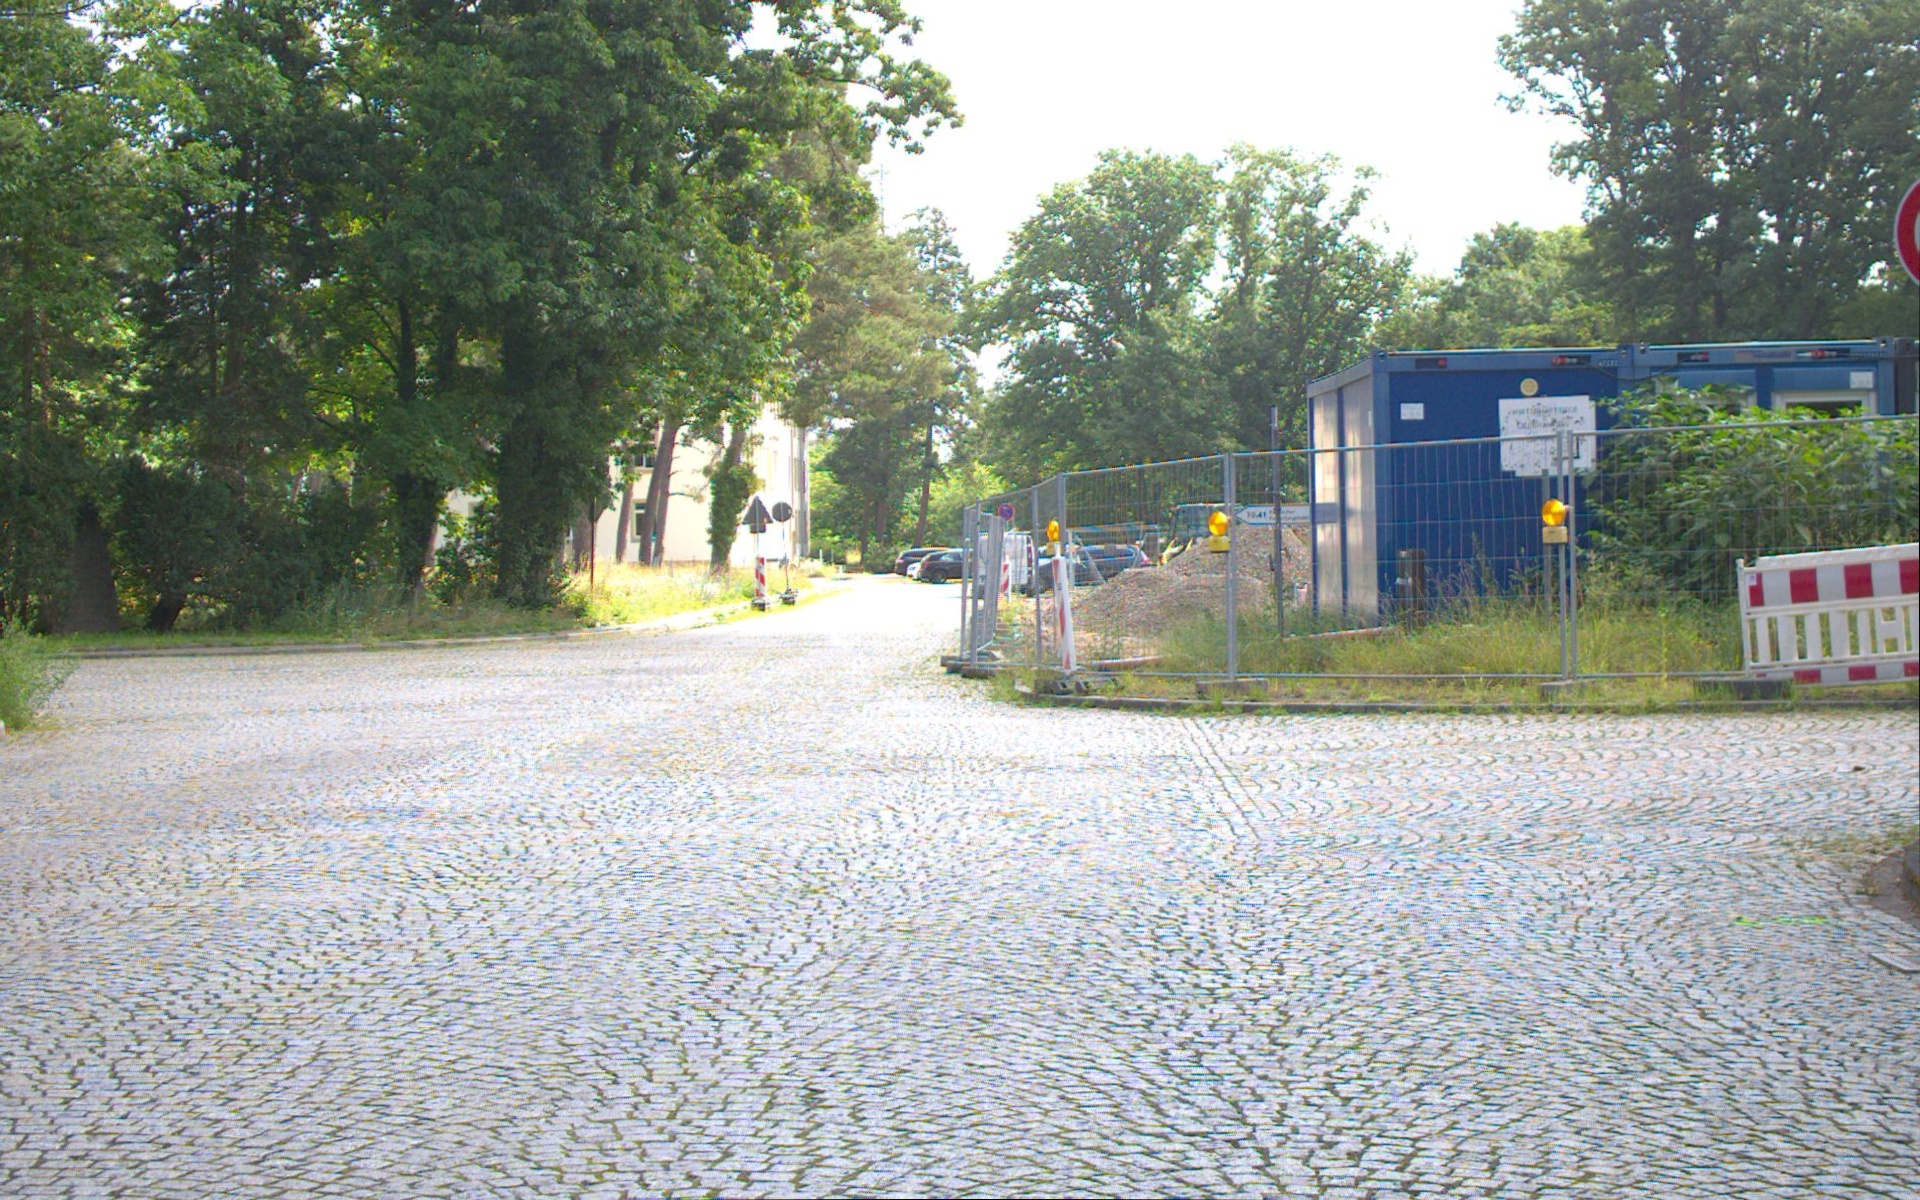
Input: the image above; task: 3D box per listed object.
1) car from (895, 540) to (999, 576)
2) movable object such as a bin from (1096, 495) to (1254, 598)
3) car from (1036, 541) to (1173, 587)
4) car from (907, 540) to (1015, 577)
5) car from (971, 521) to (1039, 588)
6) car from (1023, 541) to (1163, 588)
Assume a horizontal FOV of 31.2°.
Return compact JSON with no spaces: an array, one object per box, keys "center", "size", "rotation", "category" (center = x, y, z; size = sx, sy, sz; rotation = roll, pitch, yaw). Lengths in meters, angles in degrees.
[{"center":[-0.623,-1.994,163.325],"size":[4.779,1.635,2.000],"rotation":[0,1,-4],"category":"car"},{"center":[5.552,-1.378,88.285],"size":[2.132,2.584,4.783],"rotation":[0,1,30],"category":"movable object such as a bin"},{"center":[4.885,-1.217,115.637],"size":[4.404,1.505,1.999],"rotation":[1,1,9],"category":"car"},{"center":[0.033,-1.883,156.950],"size":[4.779,1.635,2.000],"rotation":[0,1,-4],"category":"car"},{"center":[1.362,-1.407,105.657],"size":[1.993,2.007,4.091],"rotation":[0,1,-1],"category":"car"},{"center":[4.381,-1.178,112.878],"size":[4.404,1.505,1.999],"rotation":[1,1,9],"category":"car"}]
